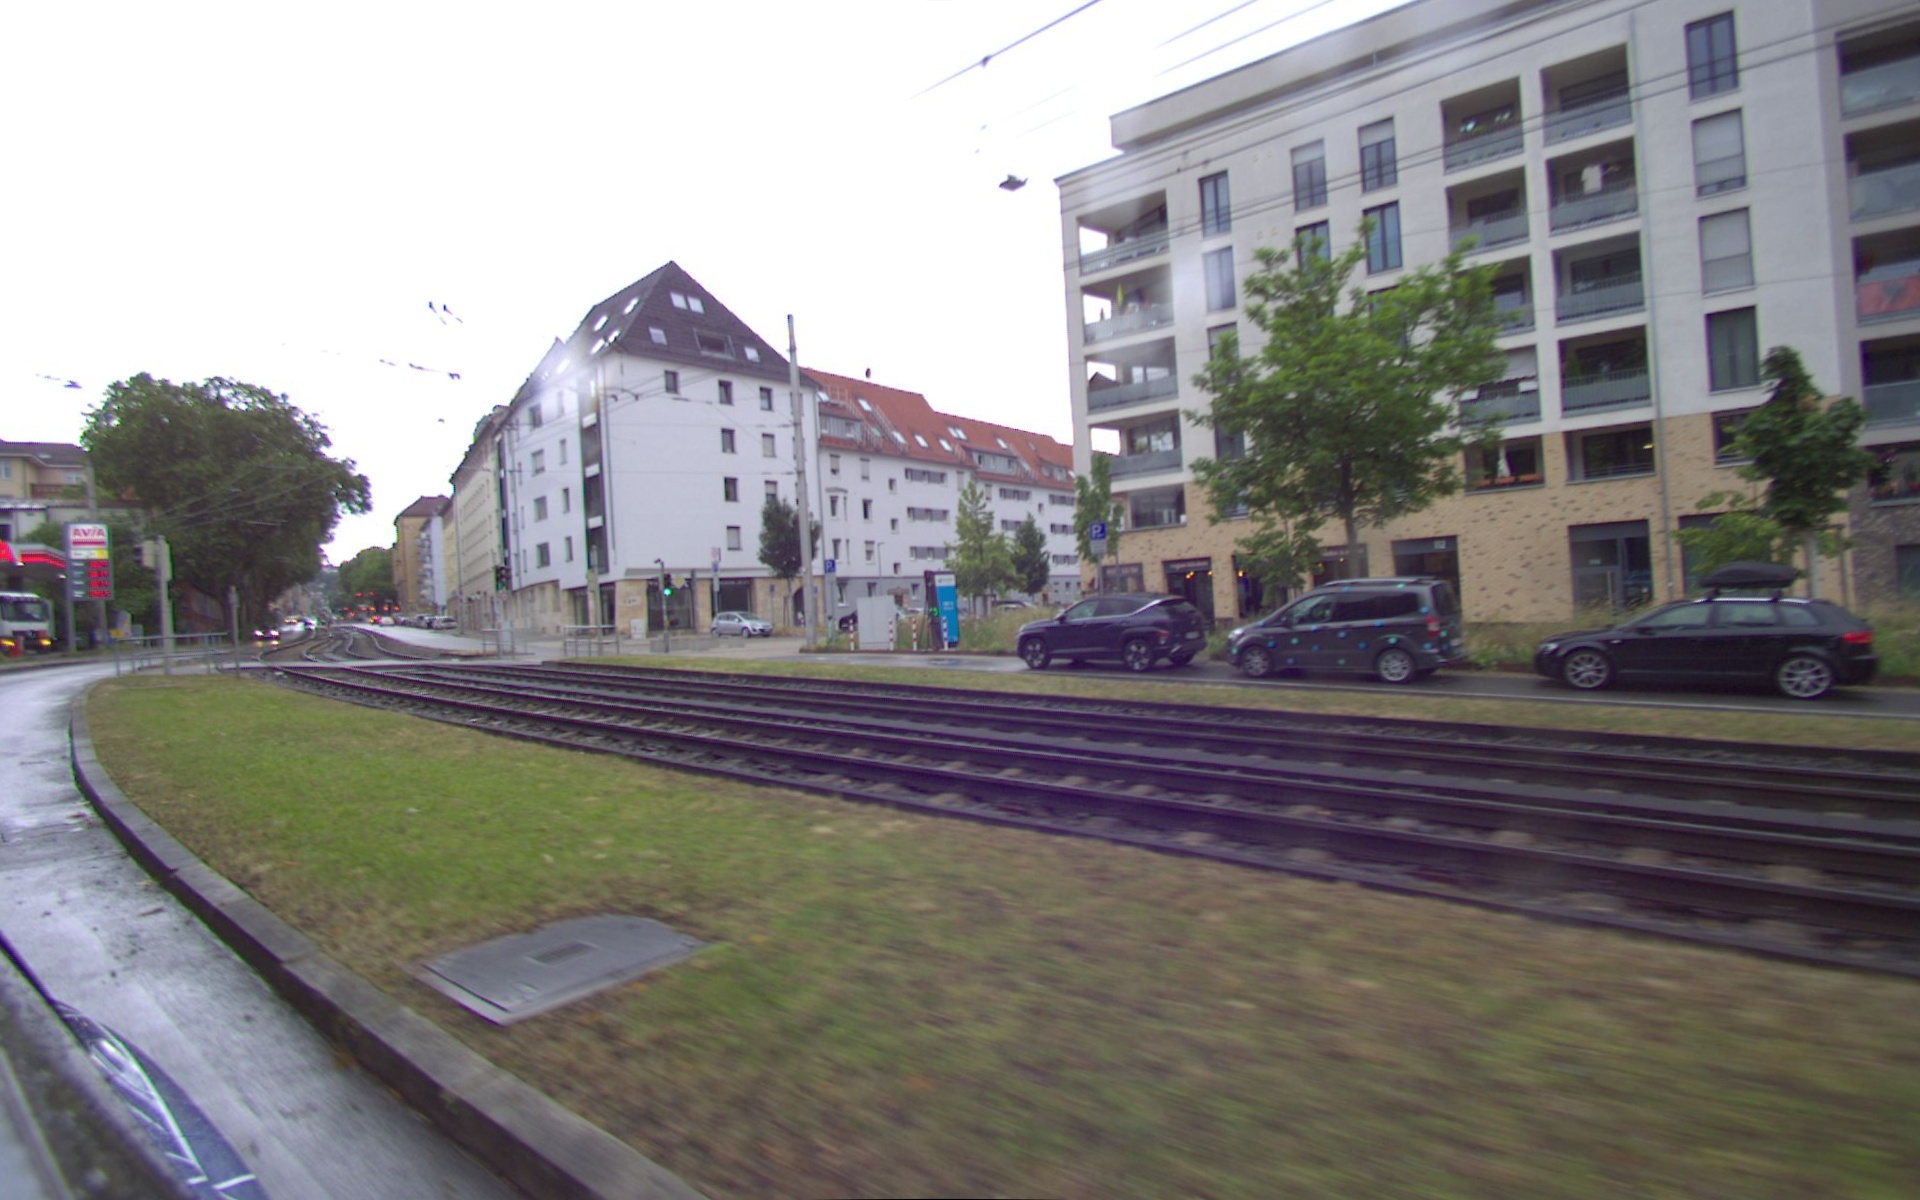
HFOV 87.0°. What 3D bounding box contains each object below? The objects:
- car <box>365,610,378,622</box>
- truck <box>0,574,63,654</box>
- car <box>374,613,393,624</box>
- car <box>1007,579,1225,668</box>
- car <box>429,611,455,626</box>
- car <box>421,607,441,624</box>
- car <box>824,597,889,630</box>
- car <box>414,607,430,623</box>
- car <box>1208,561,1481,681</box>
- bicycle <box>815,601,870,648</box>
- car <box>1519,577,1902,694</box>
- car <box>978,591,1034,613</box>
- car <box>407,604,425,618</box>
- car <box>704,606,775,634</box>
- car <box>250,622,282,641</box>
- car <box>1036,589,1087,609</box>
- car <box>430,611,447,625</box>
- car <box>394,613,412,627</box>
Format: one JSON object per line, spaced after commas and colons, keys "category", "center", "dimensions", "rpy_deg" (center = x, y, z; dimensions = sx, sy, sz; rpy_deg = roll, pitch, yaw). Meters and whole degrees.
{"category": "car", "center": [-107.903, 2.960, 185.545], "dimensions": [1.917, 2.029, 4.012], "rpy_deg": [-2, 1, -31]}
{"category": "truck", "center": [-44.114, 0.642, 45.083], "dimensions": [6.049, 3.425, 2.833], "rpy_deg": [-1, 0, 6]}
{"category": "car", "center": [-88.920, 2.872, 156.016], "dimensions": [1.666, 1.548, 5.025], "rpy_deg": [-2, 0, -40]}
{"category": "car", "center": [3.293, 0.447, 21.803], "dimensions": [4.214, 1.616, 1.973], "rpy_deg": [0, 4, 42]}
{"category": "car", "center": [-57.677, 2.081, 112.701], "dimensions": [1.998, 1.554, 4.010], "rpy_deg": [-2, 1, -35]}
{"category": "car", "center": [-63.925, 1.846, 122.331], "dimensions": [1.701, 1.974, 4.311], "rpy_deg": [-2, 1, -32]}
{"category": "car", "center": [-6.754, 0.874, 65.740], "dimensions": [3.995, 2.029, 1.916], "rpy_deg": [-1, 0, 38]}
{"category": "car", "center": [-69.756, 1.935, 131.156], "dimensions": [1.532, 1.897, 4.053], "rpy_deg": [-2, 1, -31]}
{"category": "car", "center": [6.840, 0.325, 18.299], "dimensions": [4.331, 1.873, 1.565], "rpy_deg": [0, 3, 42]}
{"category": "bicycle", "center": [-4.228, 0.869, 36.189], "dimensions": [0.667, 1.608, 2.364], "rpy_deg": [-2, 1, -42]}
{"category": "car", "center": [10.933, 0.448, 15.013], "dimensions": [4.398, 1.458, 1.534], "rpy_deg": [0, 2, 42]}
{"category": "car", "center": [3.608, 0.164, 78.946], "dimensions": [3.996, 1.630, 1.915], "rpy_deg": [-1, 0, 39]}
{"category": "car", "center": [-73.179, 1.509, 136.166], "dimensions": [1.699, 1.822, 3.601], "rpy_deg": [-2, 1, -35]}
{"category": "car", "center": [-12.255, 1.101, 56.121], "dimensions": [3.908, 1.431, 1.582], "rpy_deg": [-1, 1, 35]}
{"category": "car", "center": [-59.750, 2.687, 87.186], "dimensions": [1.858, 1.502, 3.862], "rpy_deg": [-1, 1, -28]}
{"category": "car", "center": [8.737, -0.080, 87.258], "dimensions": [3.995, 1.630, 1.916], "rpy_deg": [-1, 0, 38]}
{"category": "car", "center": [-60.052, 2.063, 116.449], "dimensions": [1.305, 1.495, 3.199], "rpy_deg": [-2, 1, -35]}
{"category": "car", "center": [-86.418, 3.048, 156.947], "dimensions": [1.998, 2.029, 4.238], "rpy_deg": [-2, 1, -35]}
